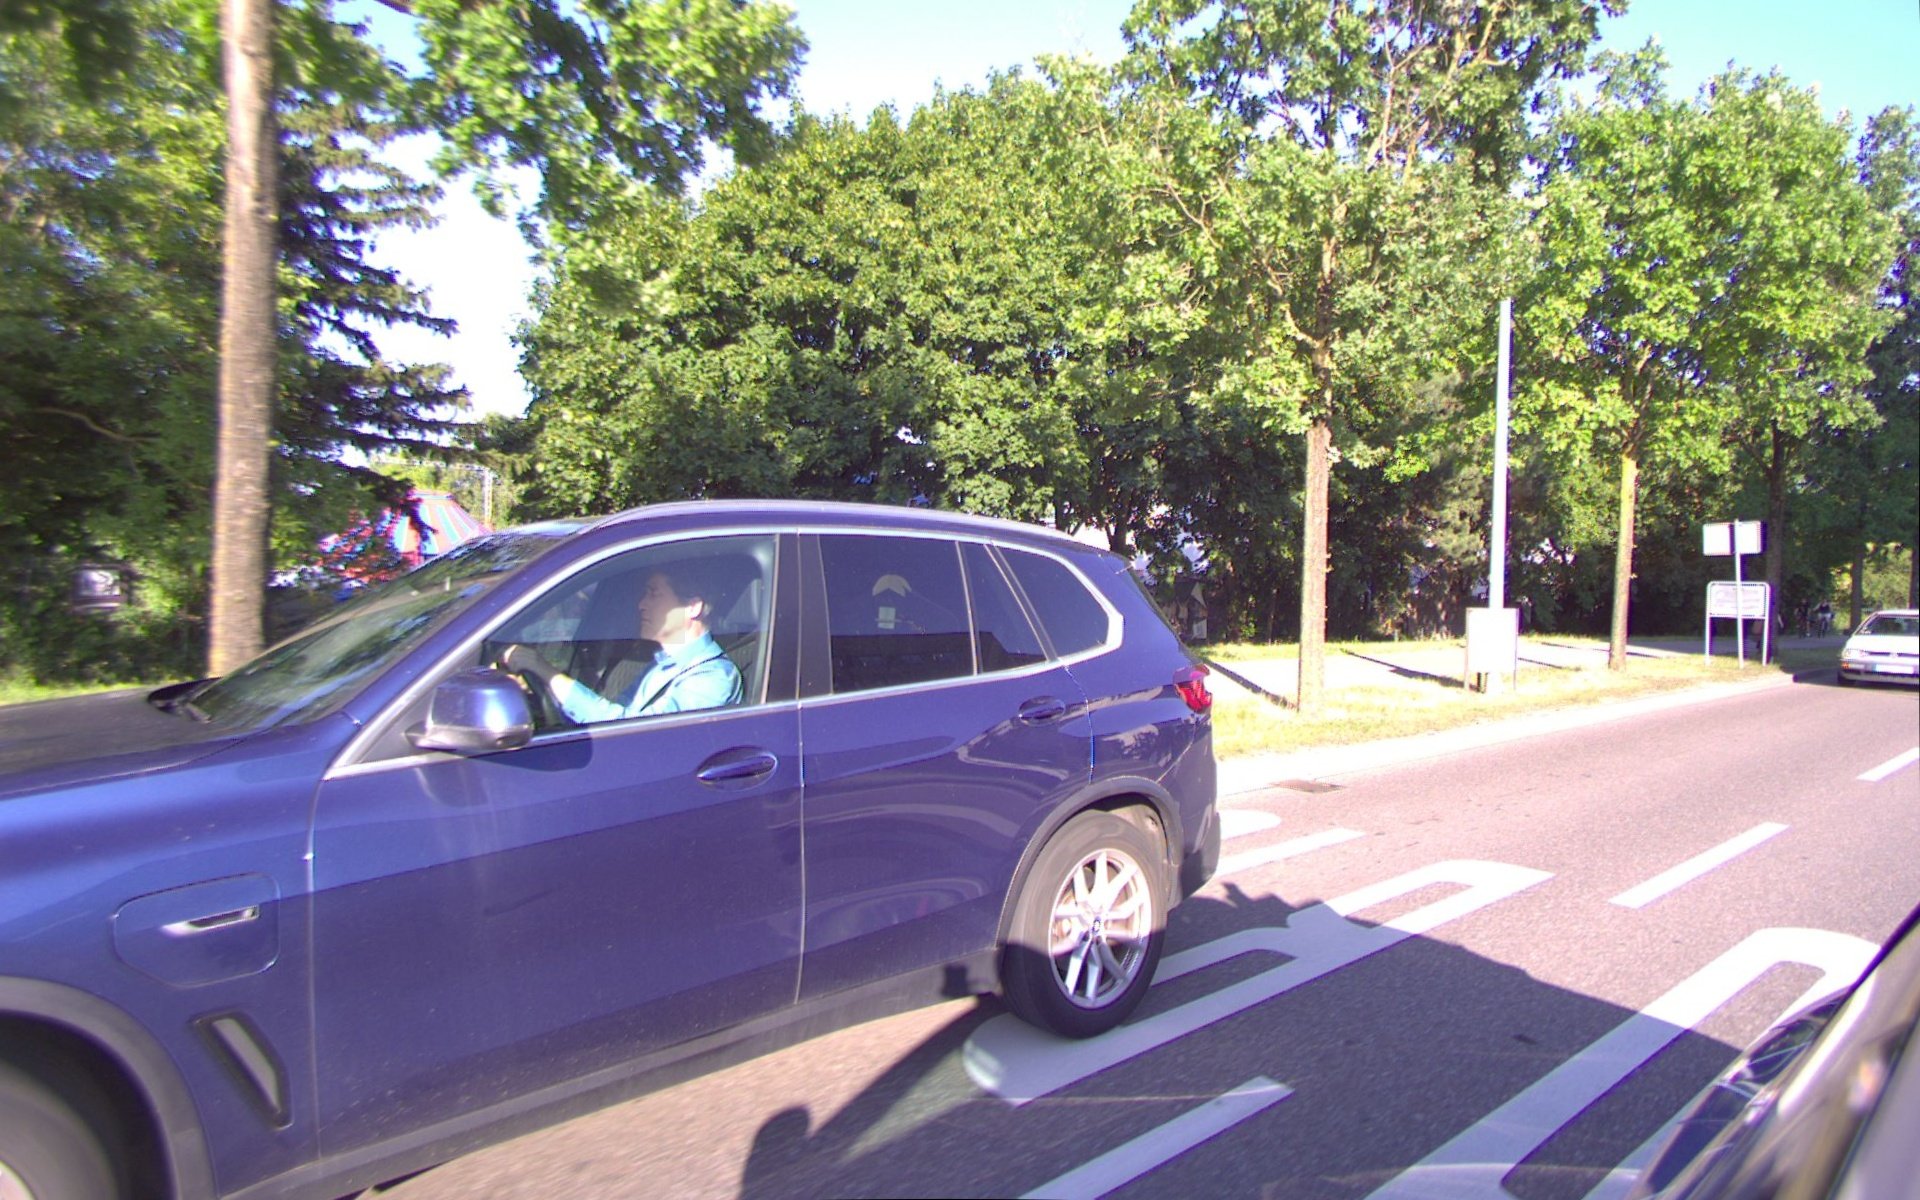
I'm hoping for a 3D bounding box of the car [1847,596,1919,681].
[{"bbox_3d":[17.732,0.712,18.423,3.963,1.416,1.615,2,0,-37],"label":"car"}]

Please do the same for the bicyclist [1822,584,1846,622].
[{"bbox_3d":[38.051,0.129,44.065,0.832,1.598,0.605,1,0,-37],"label":"bicyclist"}]

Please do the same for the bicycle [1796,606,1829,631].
[{"bbox_3d":[34.492,0.734,40.919,1.788,0.986,0.618,1,1,-37],"label":"bicycle"}]

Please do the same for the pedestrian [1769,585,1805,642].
[{"bbox_3d":[23.709,0.374,29.014,0.671,1.593,0.896,4,2,43],"label":"pedestrian"}]

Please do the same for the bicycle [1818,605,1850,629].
[{"bbox_3d":[38.046,0.727,44.062,2.020,0.986,0.618,1,1,-37],"label":"bicycle"}]

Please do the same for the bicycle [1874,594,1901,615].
[{"bbox_3d":[46.166,0.224,50.376,2.020,0.986,0.618,1,1,-37],"label":"bicycle"}]

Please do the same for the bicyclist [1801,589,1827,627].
[{"bbox_3d":[34.590,0.318,40.977,0.832,1.520,0.615,1,1,-37],"label":"bicyclist"}]

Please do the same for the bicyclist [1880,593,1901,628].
[{"bbox_3d":[46.621,0.518,50.711,0.832,1.755,0.605,1,0,-37],"label":"bicyclist"}]

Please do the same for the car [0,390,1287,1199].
[{"bbox_3d":[-1.114,0.516,3.283,4.615,1.748,1.959,0,1,-39],"label":"car"}]
